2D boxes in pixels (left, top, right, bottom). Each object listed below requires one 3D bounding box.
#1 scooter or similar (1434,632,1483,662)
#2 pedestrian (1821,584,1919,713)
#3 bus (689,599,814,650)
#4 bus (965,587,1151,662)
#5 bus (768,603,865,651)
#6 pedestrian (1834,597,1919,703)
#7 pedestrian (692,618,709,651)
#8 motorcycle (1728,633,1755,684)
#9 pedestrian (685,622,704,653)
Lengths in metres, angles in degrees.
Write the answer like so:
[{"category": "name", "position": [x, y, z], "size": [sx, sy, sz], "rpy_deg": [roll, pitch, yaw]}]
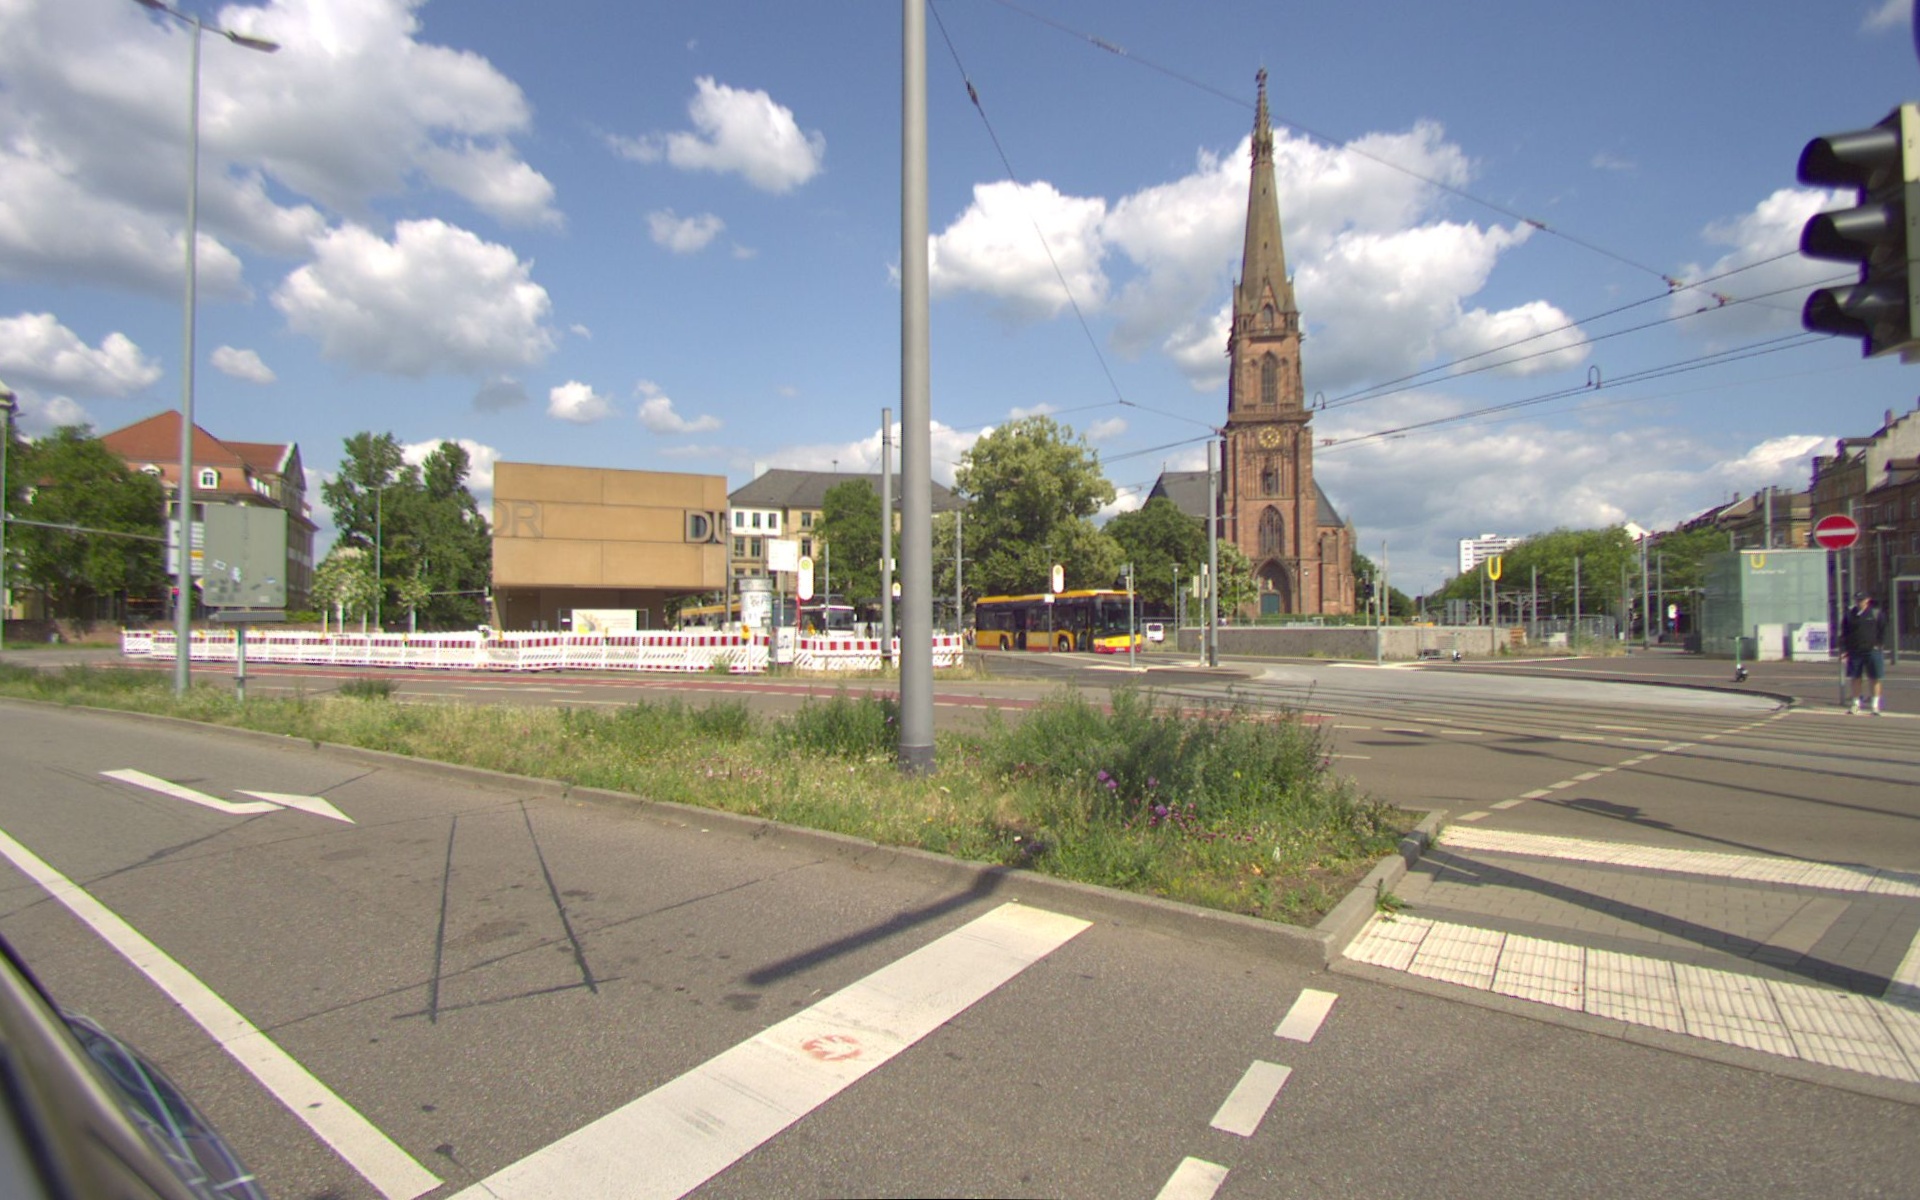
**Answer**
[{"category": "scooter or similar", "position": [19.733, 1.839, 40.056], "size": [1.617, 1.114, 0.855], "rpy_deg": [-1, 0, -22]}, {"category": "pedestrian", "position": [13.981, 0.727, 15.553], "size": [0.816, 1.917, 0.767], "rpy_deg": [-1, 0, 3]}, {"category": "bus", "position": [-16.107, 1.896, 75.169], "size": [3.416, 3.208, 23.855], "rpy_deg": [0, -2, -26]}, {"category": "bus", "position": [4.251, 1.250, 49.102], "size": [2.785, 3.160, 12.882], "rpy_deg": [0, -2, -25]}, {"category": "bus", "position": [-12.794, 2.435, 87.242], "size": [3.546, 3.660, 18.932], "rpy_deg": [0, -2, -23]}, {"category": "pedestrian", "position": [16.220, 0.855, 17.942], "size": [1.027, 1.811, 0.758], "rpy_deg": [-1, 0, 38]}, {"category": "pedestrian", "position": [-12.923, 1.722, 50.444], "size": [0.720, 1.642, 0.561], "rpy_deg": [0, -2, -27]}, {"category": "motorcycle", "position": [19.795, 1.453, 25.636], "size": [0.483, 1.246, 1.429], "rpy_deg": [-1, -2, 36]}, {"category": "pedestrian", "position": [-14.167, 1.990, 54.045], "size": [0.761, 1.644, 0.648], "rpy_deg": [-1, -2, 23]}]
